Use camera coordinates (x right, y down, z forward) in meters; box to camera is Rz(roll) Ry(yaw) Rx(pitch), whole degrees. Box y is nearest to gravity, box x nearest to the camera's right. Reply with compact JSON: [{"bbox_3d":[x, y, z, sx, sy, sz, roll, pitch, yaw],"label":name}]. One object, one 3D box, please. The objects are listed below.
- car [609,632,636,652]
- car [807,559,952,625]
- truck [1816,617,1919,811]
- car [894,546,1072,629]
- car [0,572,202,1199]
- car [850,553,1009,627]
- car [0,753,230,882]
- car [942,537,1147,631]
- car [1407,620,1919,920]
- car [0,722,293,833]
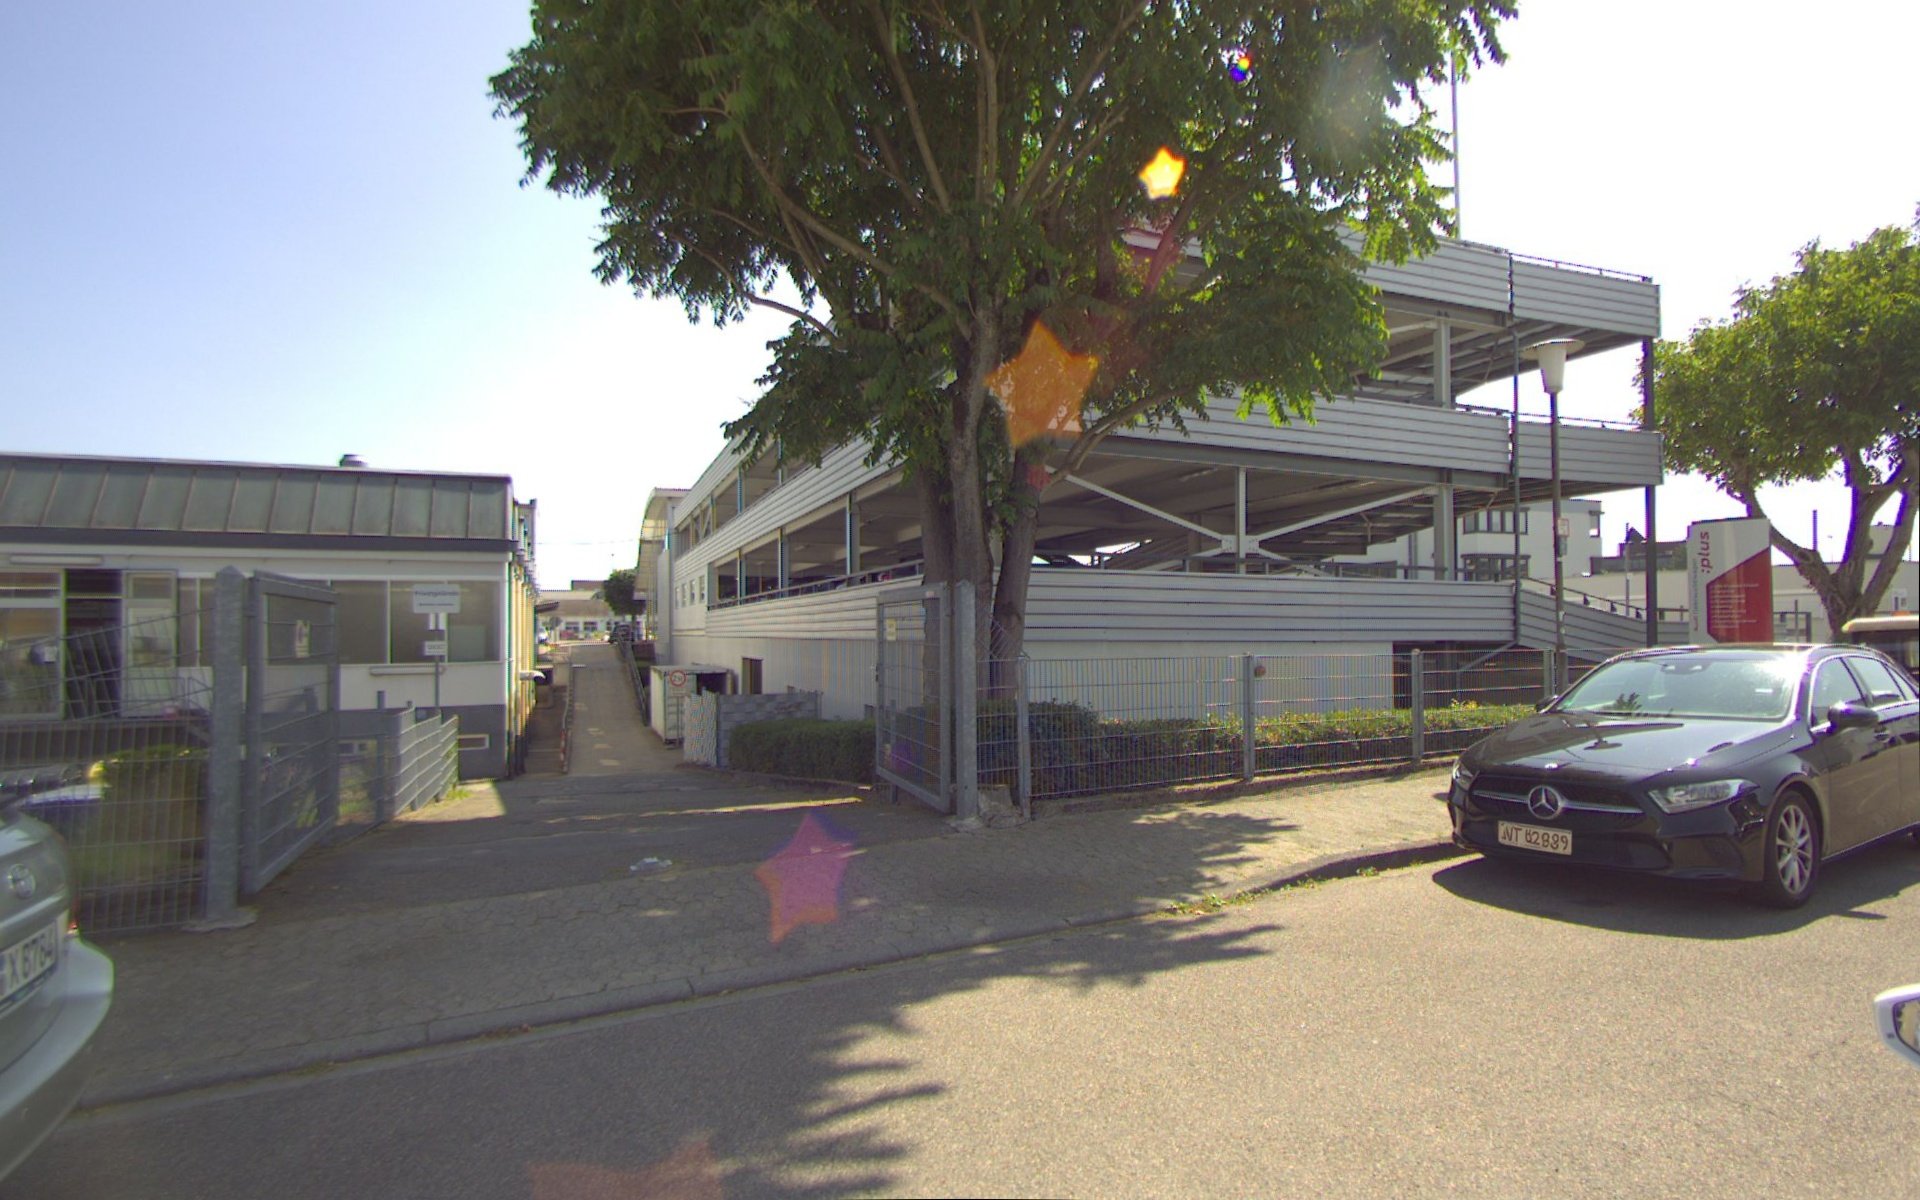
[{"bbox_3d":[-27.060,3.305,80.460,1.922,1.550,4.322,0,-2,-20],"label":"car"},{"bbox_3d":[-2.294,-0.207,29.204,3.920,1.693,1.819,2,-2,4],"label":"car"},{"bbox_3d":[9.429,0.997,9.486,3.107,1.643,1.132,1,-4,-33],"label":"truck"},{"bbox_3d":[0.566,-0.260,23.275,3.920,1.693,1.819,2,-2,4],"label":"car"},{"bbox_3d":[-3.864,0.726,1.341,4.254,1.541,1.736,1,-3,-27],"label":"car"},{"bbox_3d":[-0.725,-0.226,26.066,3.920,1.693,1.819,2,-2,4],"label":"car"},{"bbox_3d":[-13.710,3.282,15.241,3.948,1.461,1.987,1,-2,-27],"label":"car"},{"bbox_3d":[1.694,-0.291,20.457,3.920,1.693,1.819,2,-2,4],"label":"car"},{"bbox_3d":[5.067,0.920,6.789,4.067,1.482,1.696,1,-3,-31],"label":"car"},{"bbox_3d":[-14.339,3.056,17.785,3.948,1.461,1.987,1,-2,-27],"label":"car"}]
